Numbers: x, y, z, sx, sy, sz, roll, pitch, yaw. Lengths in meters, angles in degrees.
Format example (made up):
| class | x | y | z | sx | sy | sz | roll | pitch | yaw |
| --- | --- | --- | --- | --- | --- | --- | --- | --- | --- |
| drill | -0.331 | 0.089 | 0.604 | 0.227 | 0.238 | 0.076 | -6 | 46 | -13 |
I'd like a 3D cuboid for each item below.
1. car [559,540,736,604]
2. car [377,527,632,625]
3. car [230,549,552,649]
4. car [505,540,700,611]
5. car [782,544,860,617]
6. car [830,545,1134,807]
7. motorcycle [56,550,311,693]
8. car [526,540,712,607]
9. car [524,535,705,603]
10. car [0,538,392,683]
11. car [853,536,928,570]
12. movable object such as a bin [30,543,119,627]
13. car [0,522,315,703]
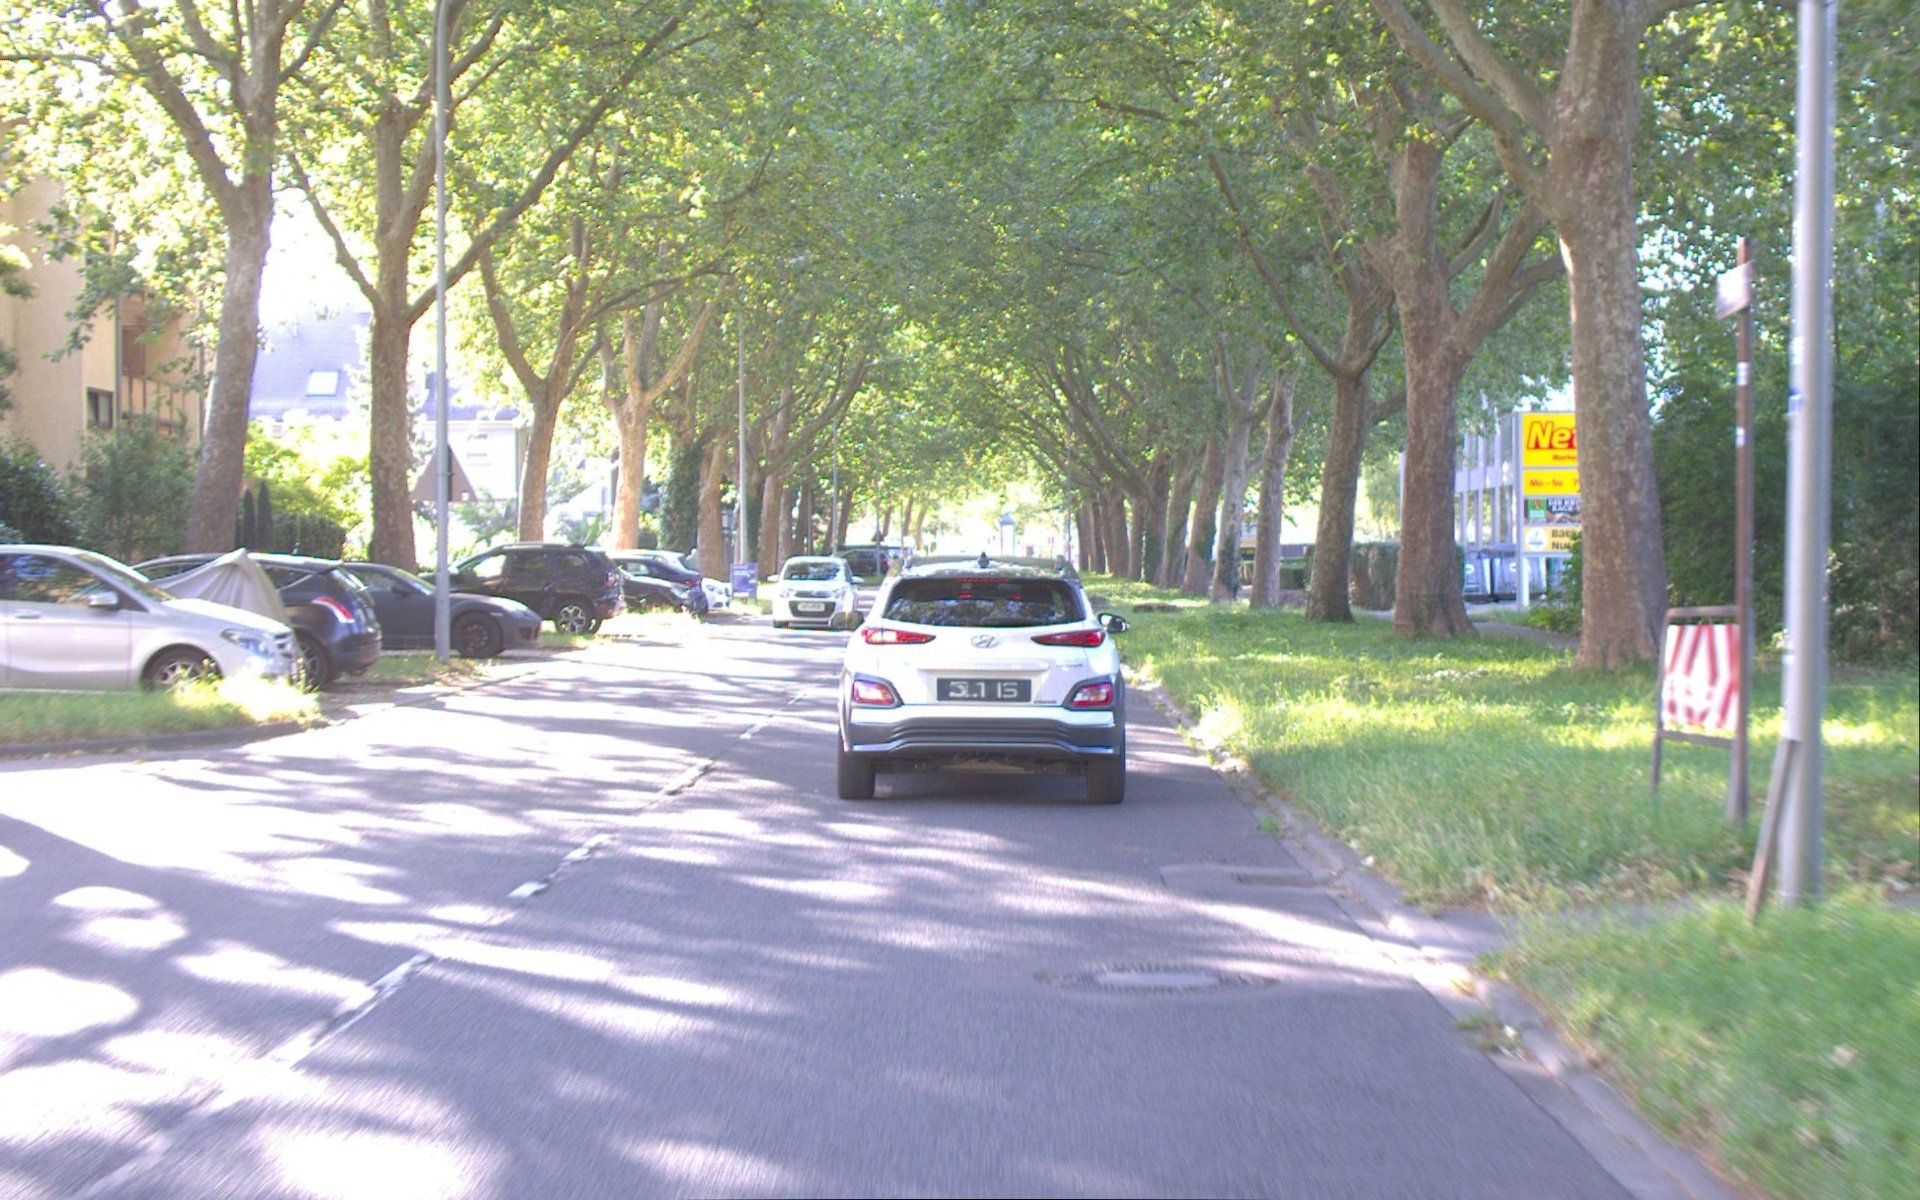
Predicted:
| class | x | y | z | sx | sy | sz | roll | pitch | yaw |
| --- | --- | --- | --- | --- | --- | --- | --- | --- | --- |
| car | -7.397 | -0.678 | 81.581 | 3.987 | 1.465 | 1.809 | 1 | 1 | 2 |
| car | -7.961 | -0.424 | 60.349 | 4.244 | 1.674 | 1.671 | 0 | 1 | 1 |
| car | -7.949 | -0.027 | 48.300 | 4.240 | 1.348 | 1.741 | 0 | 1 | -1 |
| car | -7.644 | -0.534 | 73.816 | 3.987 | 1.465 | 1.781 | 1 | 1 | 0 |
| car | -2.805 | -0.411 | 70.067 | 1.535 | 1.454 | 3.185 | 0 | 1 | -1 |
| car | 0.121 | 0.431 | 22.907 | 1.835 | 1.550 | 4.000 | 0 | 1 | 0 |
| motorcycle | -7.669 | 0.206 | 34.015 | 2.385 | 1.383 | 0.648 | 0 | 1 | -4 |
| car | -7.503 | -0.584 | 75.924 | 3.986 | 1.419 | 1.809 | 1 | 1 | -3 |
| car | -7.933 | -0.724 | 79.175 | 3.987 | 1.515 | 1.809 | 1 | 1 | 0 |
| car | -8.249 | 0.099 | 36.642 | 4.160 | 1.501 | 1.802 | 0 | 1 | -3 |
| car | -3.809 | -2.557 | 188.289 | 3.986 | 1.766 | 2.000 | 1 | 0 | -4 |
| movable object such as a bin | -14.428 | -0.244 | 56.034 | 1.186 | 1.345 | 0.954 | 0 | 0 | 1 |
| car | -8.164 | 0.086 | 31.561 | 4.182 | 1.579 | 2.000 | 1 | 1 | -4 |
